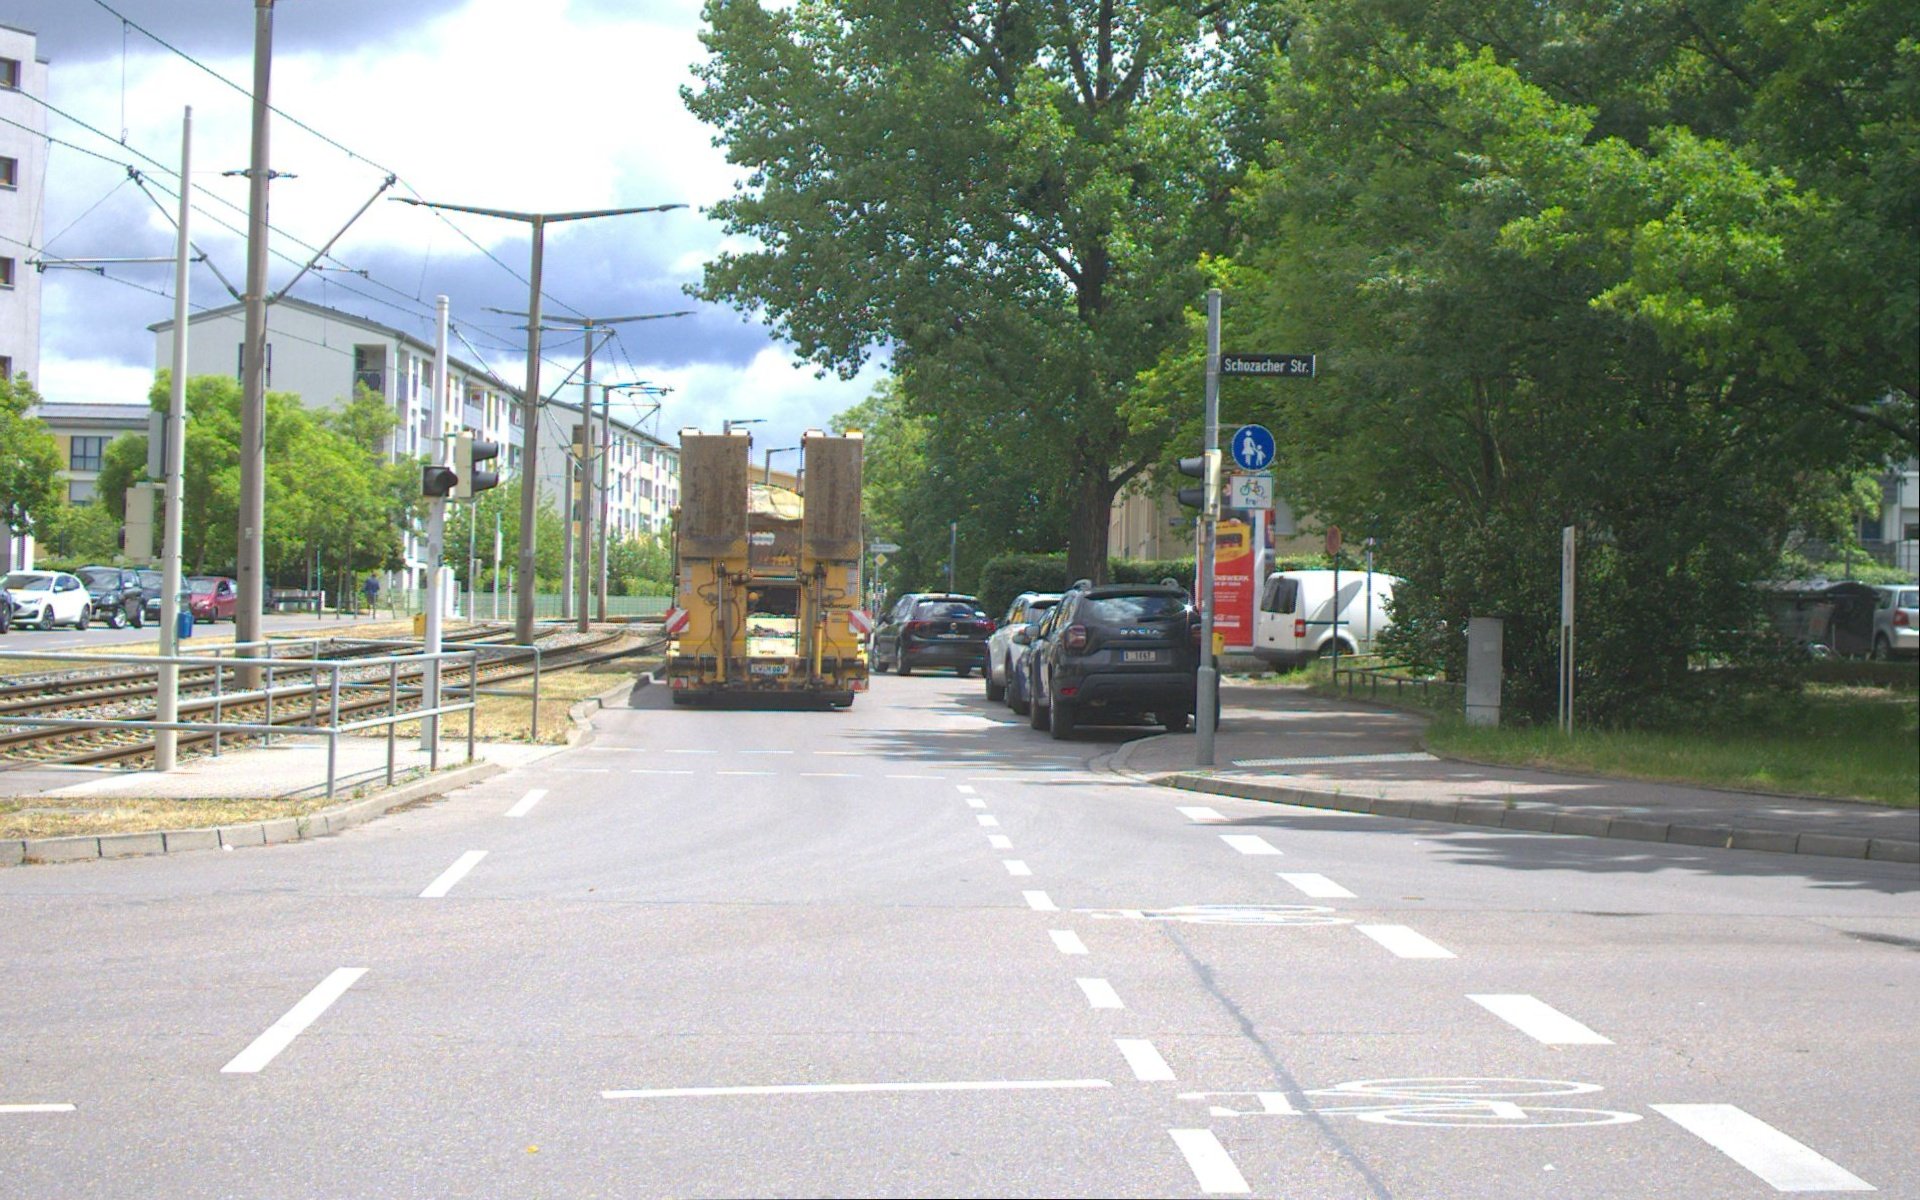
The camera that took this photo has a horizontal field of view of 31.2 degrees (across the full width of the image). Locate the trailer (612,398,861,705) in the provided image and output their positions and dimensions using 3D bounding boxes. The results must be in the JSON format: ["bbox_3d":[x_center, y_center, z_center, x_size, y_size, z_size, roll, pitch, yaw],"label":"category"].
[{"bbox_3d":[-3.070,-0.691,48.177,3.050,3.760,11.614,0,1,-3],"label":"trailer"}]

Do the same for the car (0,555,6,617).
[{"bbox_3d":[-23.110,-0.315,77.781,1.734,1.423,4.380,0,0,2],"label":"car"}]

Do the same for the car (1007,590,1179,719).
[{"bbox_3d":[1.604,0.642,42.721,1.643,1.453,4.077,0,1,-5],"label":"car"}]

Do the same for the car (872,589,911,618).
[{"bbox_3d":[-3.477,0.171,174.356,1.993,1.382,4.000,0,1,-1],"label":"car"}]

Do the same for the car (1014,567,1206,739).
[{"bbox_3d":[1.606,0.533,38.211,1.643,1.756,4.570,0,1,-4],"label":"car"}]

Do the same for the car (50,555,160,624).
[{"bbox_3d":[-22.150,-0.296,89.211,1.993,1.657,4.100,2,1,-3],"label":"car"}]

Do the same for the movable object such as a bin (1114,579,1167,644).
[{"bbox_3d":[4.057,0.249,77.264,1.098,1.434,0.761,0,1,-3],"label":"movable object such as a bin"}]

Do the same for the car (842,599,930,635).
[{"bbox_3d":[-3.342,0.782,155.716,3.600,1.579,1.999,1,-1,11],"label":"car"}]

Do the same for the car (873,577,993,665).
[{"bbox_3d":[-0.504,0.349,60.615,1.815,1.444,3.827,0,1,-5],"label":"car"}]

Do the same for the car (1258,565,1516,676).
[{"bbox_3d":[7.271,0.326,58.530,3.986,1.816,1.811,0,1,-24],"label":"car"}]

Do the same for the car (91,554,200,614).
[{"bbox_3d":[-22.984,-0.469,97.097,1.993,1.642,4.100,0,1,2],"label":"car"}]

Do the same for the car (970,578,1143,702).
[{"bbox_3d":[1.275,0.513,47.456,1.783,1.560,4.571,0,1,-6],"label":"car"}]

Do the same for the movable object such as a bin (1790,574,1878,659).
[{"bbox_3d":[15.104,0.277,59.436,1.115,1.425,1.286,0,1,-4],"label":"movable object such as a bin"}]

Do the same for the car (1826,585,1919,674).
[{"bbox_3d":[17.083,0.515,62.004,1.940,1.485,4.000,1,1,1],"label":"car"}]

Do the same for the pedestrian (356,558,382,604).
[{"bbox_3d":[-21.790,-0.702,126.758,0.749,1.656,0.869,0,1,3],"label":"pedestrian"}]

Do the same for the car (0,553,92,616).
[{"bbox_3d":[-22.974,-0.403,84.740,1.754,1.470,4.399,0,1,4],"label":"car"}]

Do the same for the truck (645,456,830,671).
[{"bbox_3d":[-3.667,-0.629,57.281,2.833,3.319,7.985,0,1,-3],"label":"truck"}]

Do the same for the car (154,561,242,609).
[{"bbox_3d":[-22.990,-0.466,103.836,1.613,1.421,3.422,0,1,6],"label":"car"}]
